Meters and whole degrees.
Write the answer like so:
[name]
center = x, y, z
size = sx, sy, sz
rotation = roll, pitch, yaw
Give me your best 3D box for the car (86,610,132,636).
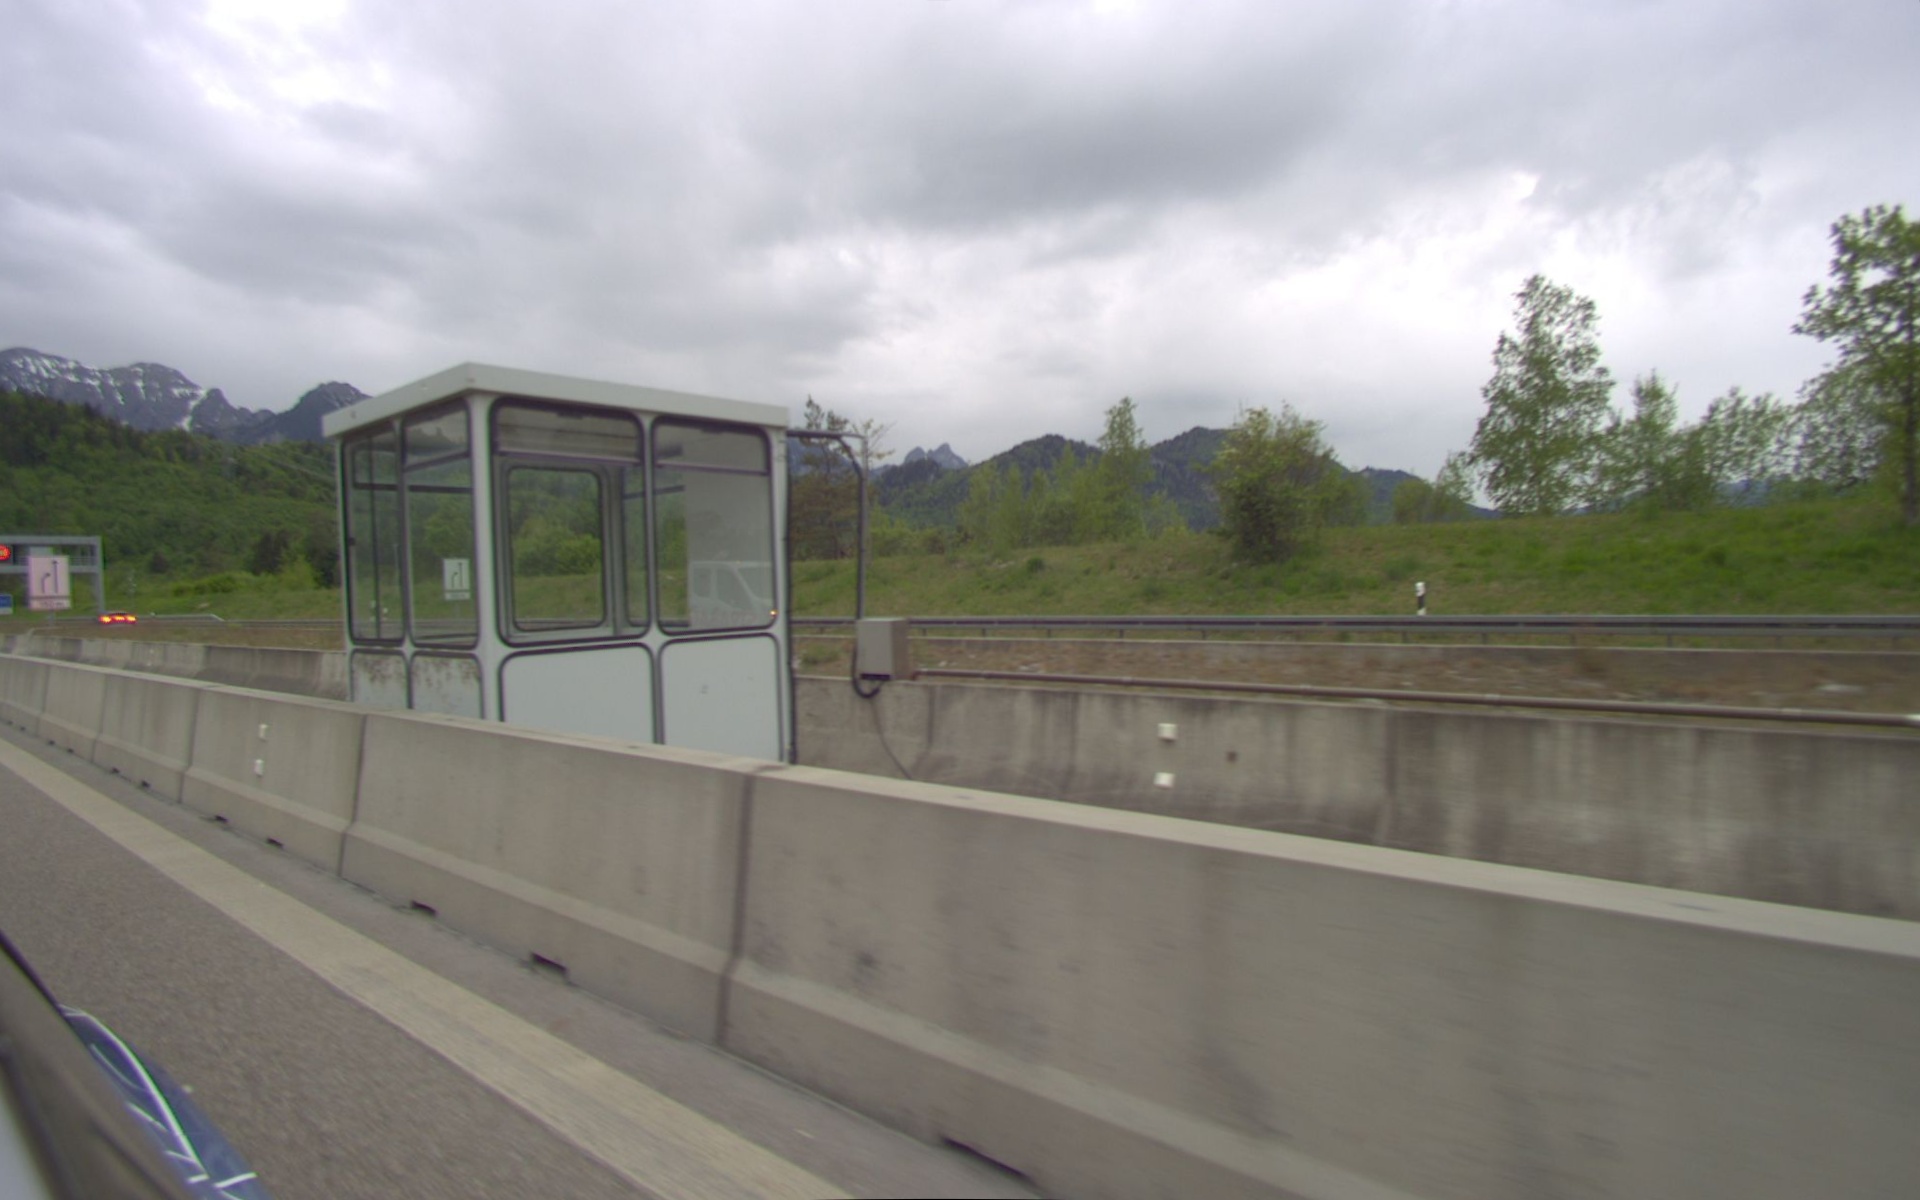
[car]
center = -55.378, 1.515, 65.835
size = 4.174, 1.586, 1.685
rotation = -1, 1, 41
